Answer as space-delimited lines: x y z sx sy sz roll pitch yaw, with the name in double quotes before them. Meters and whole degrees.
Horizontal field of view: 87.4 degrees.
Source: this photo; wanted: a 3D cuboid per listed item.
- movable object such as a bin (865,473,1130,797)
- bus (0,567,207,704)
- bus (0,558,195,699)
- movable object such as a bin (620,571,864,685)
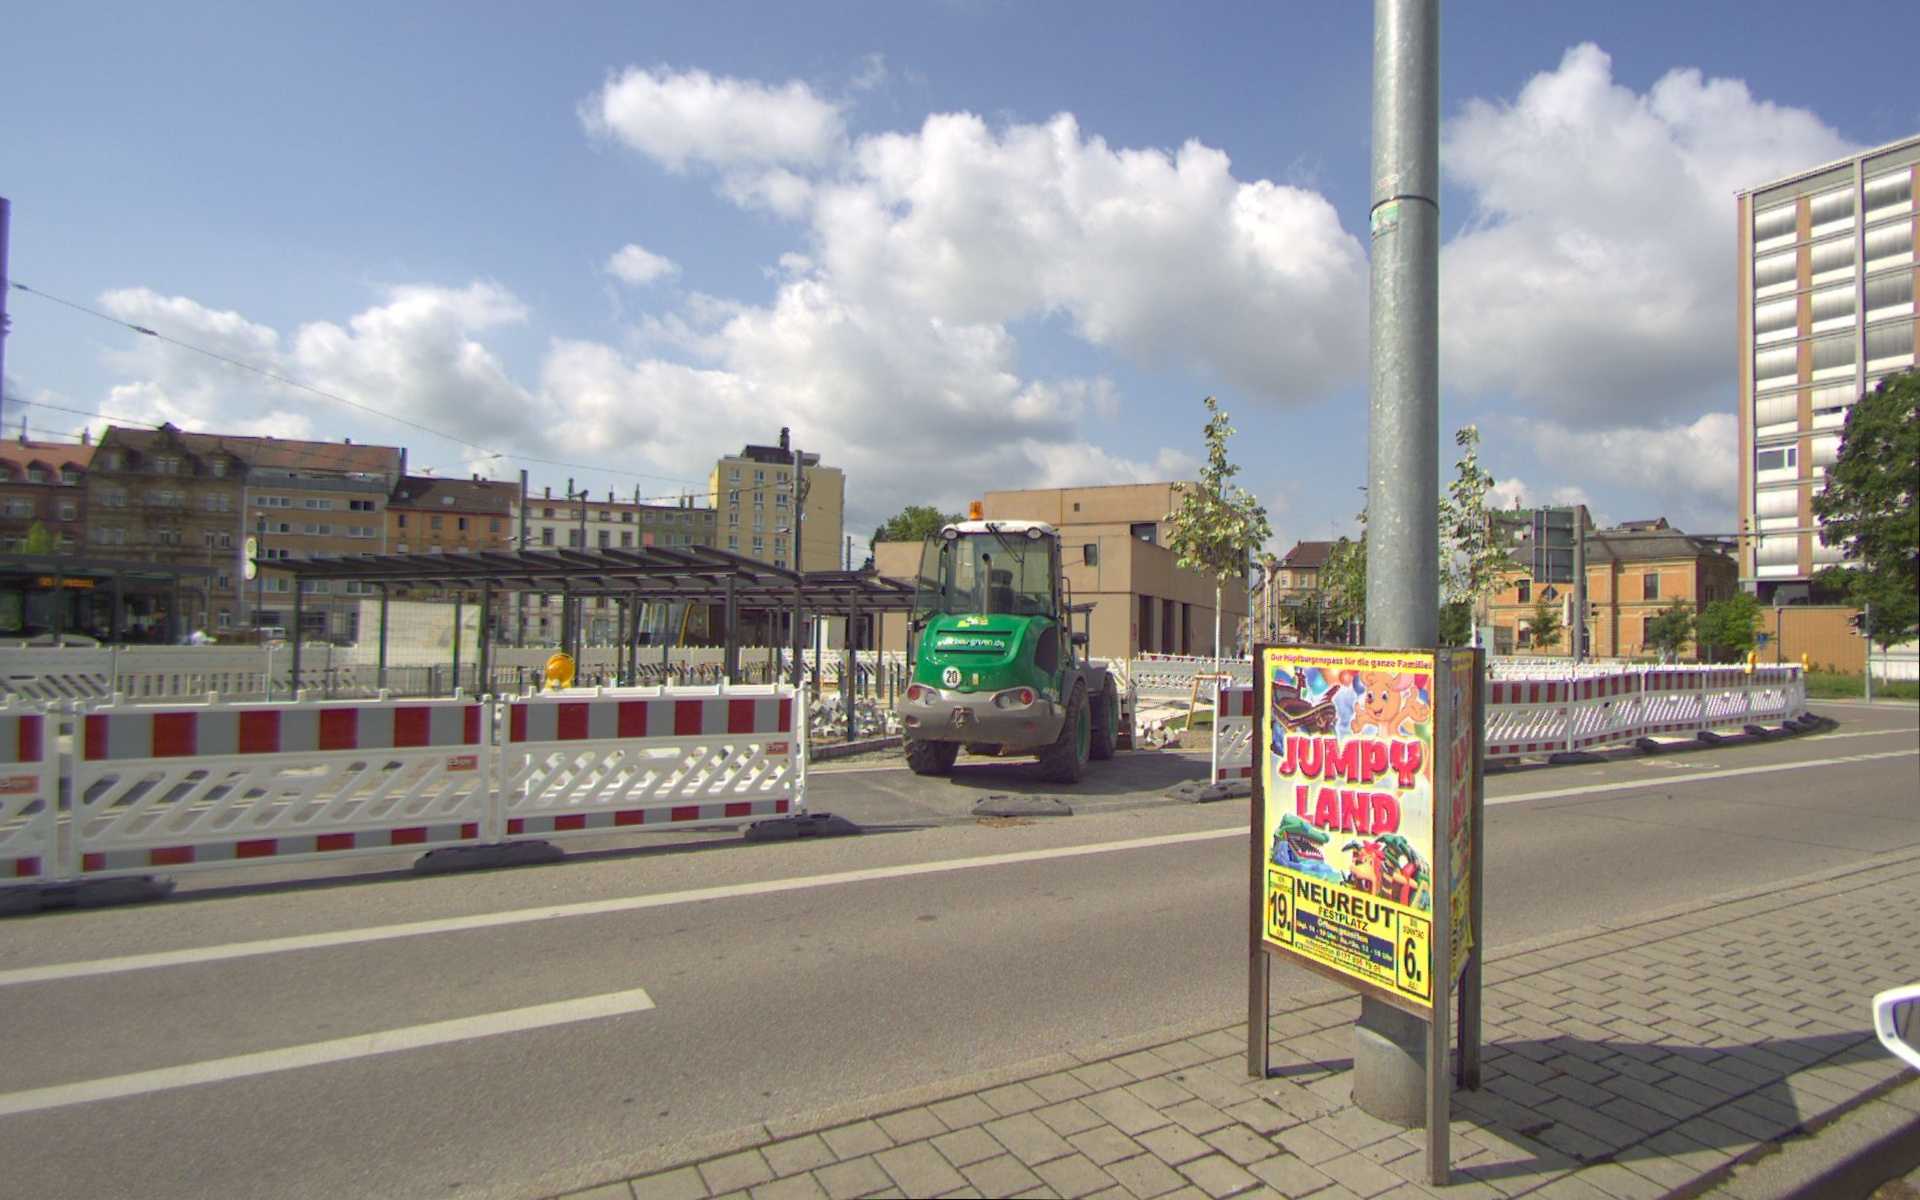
"movable object such as a bin" 0.682 0.419 11.662 1.960 2.988 4.453 0 -3 17
"bus" -25.113 0.797 23.413 2.937 3.305 12.067 0 -3 25
"bus" -22.237 0.636 22.565 2.329 3.098 7.758 0 -3 25
"movable object such as a bin" -7.305 1.075 35.712 2.966 3.468 9.677 0 -2 27
